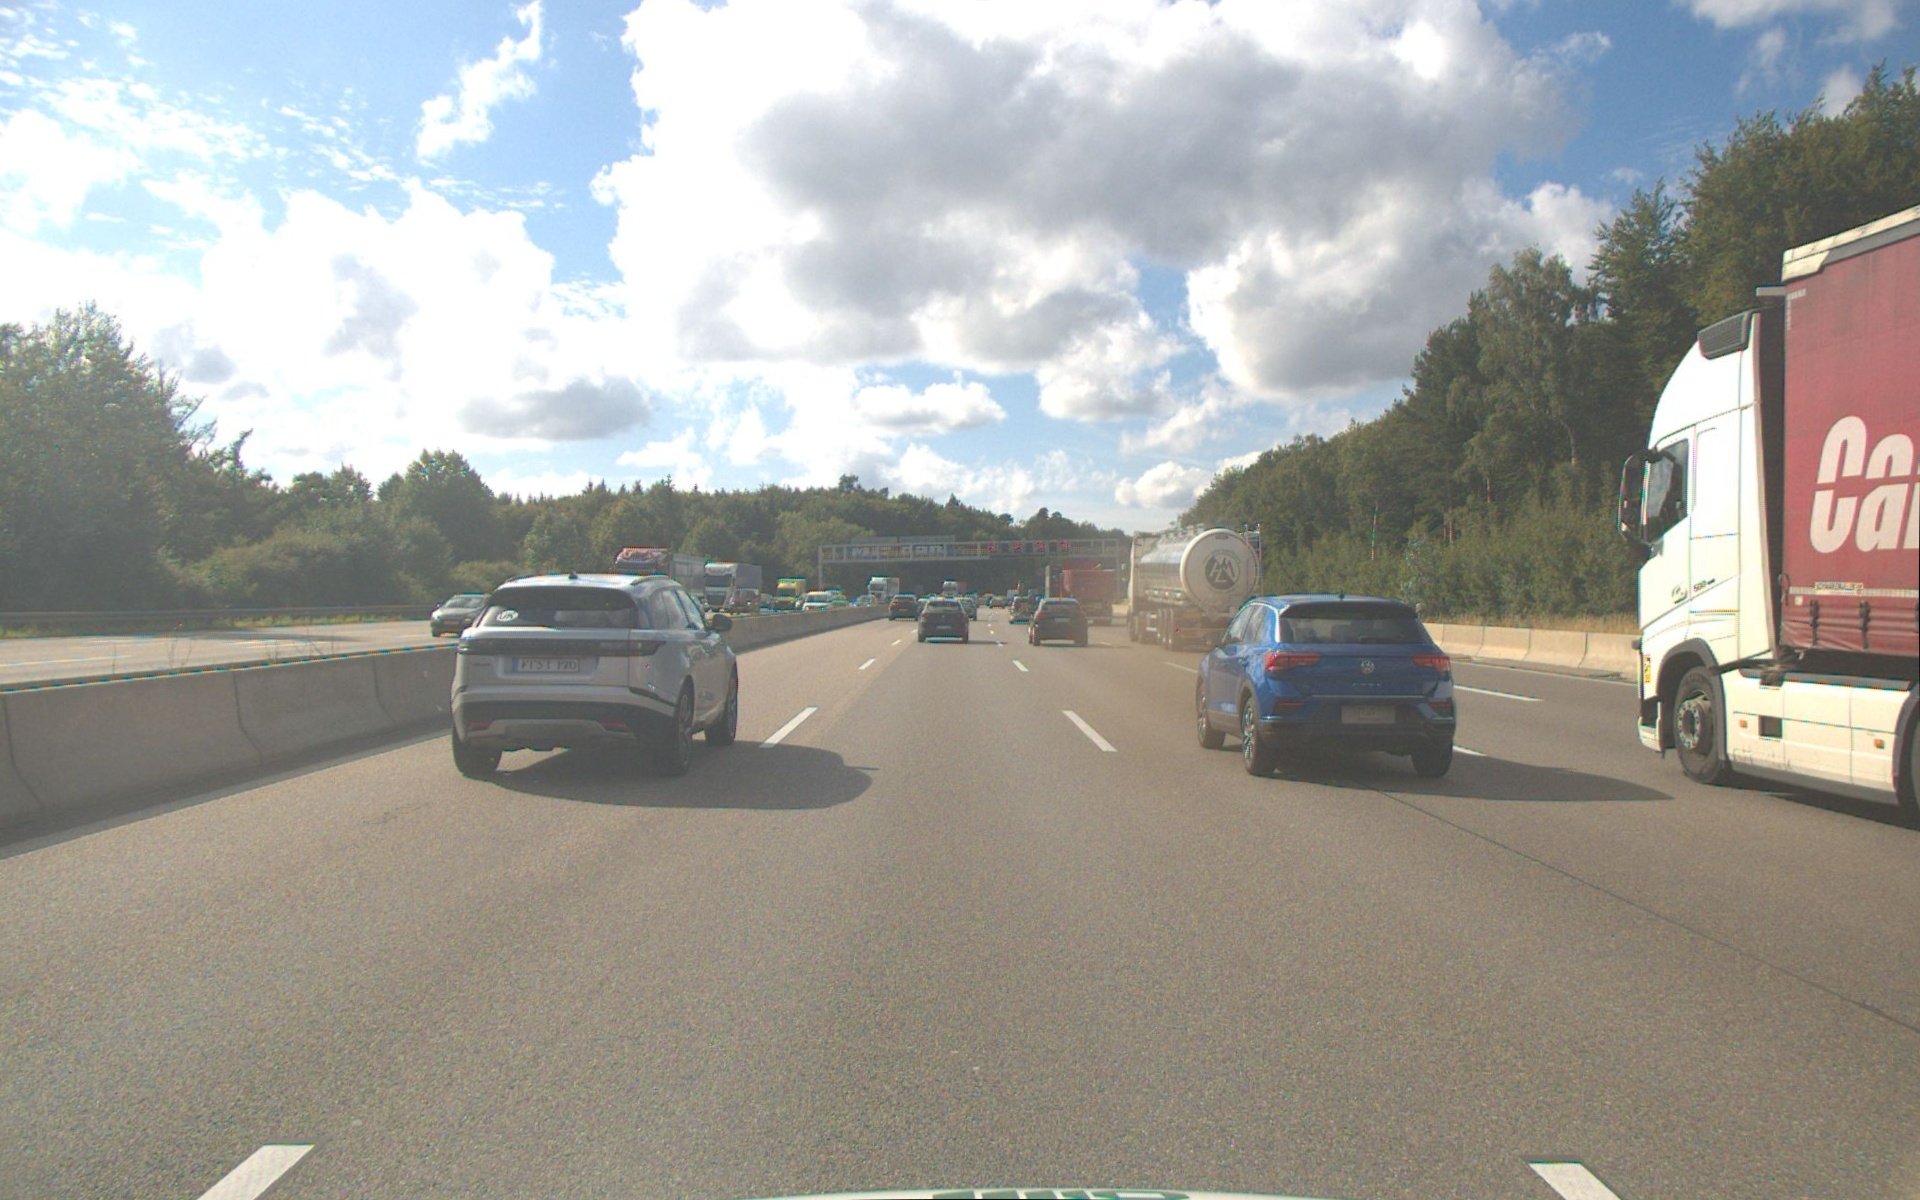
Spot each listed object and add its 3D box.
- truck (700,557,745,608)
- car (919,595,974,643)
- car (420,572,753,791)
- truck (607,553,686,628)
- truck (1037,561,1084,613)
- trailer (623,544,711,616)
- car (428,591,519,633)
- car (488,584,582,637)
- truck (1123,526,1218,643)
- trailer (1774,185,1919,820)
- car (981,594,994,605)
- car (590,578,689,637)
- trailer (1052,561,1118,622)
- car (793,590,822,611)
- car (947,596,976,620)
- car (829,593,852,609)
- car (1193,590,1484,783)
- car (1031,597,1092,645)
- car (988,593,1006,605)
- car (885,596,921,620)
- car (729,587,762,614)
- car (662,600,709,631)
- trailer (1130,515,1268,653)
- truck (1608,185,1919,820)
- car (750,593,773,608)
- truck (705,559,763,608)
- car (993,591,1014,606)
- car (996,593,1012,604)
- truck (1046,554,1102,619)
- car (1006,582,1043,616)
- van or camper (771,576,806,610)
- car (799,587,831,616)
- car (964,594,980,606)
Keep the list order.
[{"bbox_3d":[-20.017,-1.456,139.540,2.761,4.166,6.063,0,0,1],"label":"truck"},{"bbox_3d":[-0.469,0.612,56.387,1.785,1.573,3.999,0,0,-1],"label":"car"},{"bbox_3d":[-3.179,0.612,15.286,1.965,1.644,5.299,1,0,-1],"label":"car"},{"bbox_3d":[-16.962,-0.530,89.963,2.906,3.925,6.765,0,0,1],"label":"truck"},{"bbox_3d":[8.084,-1.040,134.155,3.055,4.003,10.409,0,0,-1],"label":"truck"},{"bbox_3d":[-16.867,-1.104,96.054,2.906,3.925,11.282,0,0,1],"label":"trailer"},{"bbox_3d":[-17.156,0.399,58.501,1.789,1.439,4.675,0,0,0],"label":"car"},{"bbox_3d":[-13.911,0.323,54.411,1.953,1.693,4.686,0,0,-1],"label":"car"},{"bbox_3d":[7.302,-0.523,58.077,2.594,3.890,6.082,0,0,0],"label":"truck"},{"bbox_3d":[7.655,-0.602,5.735,2.717,4.116,13.711,0,0,-1],"label":"trailer"},{"bbox_3d":[4.129,-0.071,249.253,1.889,1.483,4.393,-1,0,2],"label":"car"},{"bbox_3d":[-9.875,0.222,51.434,2.111,1.729,5.349,0,0,-1],"label":"car"},{"bbox_3d":[7.068,-0.520,94.861,2.655,3.287,9.728,1,1,-2],"label":"trailer"},{"bbox_3d":[-12.557,0.042,136.404,1.805,1.624,4.915,-1,0,2],"label":"car"},{"bbox_3d":[0.117,0.507,107.213,1.785,1.483,4.000,1,0,1],"label":"car"},{"bbox_3d":[-11.321,0.068,157.324,1.747,1.496,4.331,0,0,2],"label":"car"},{"bbox_3d":[3.379,0.693,15.614,1.736,1.557,4.457,0,0,0],"label":"car"},{"bbox_3d":[3.254,0.646,53.726,1.785,1.483,4.000,0,0,1],"label":"car"},{"bbox_3d":[4.654,-0.115,210.364,2.035,1.483,3.998,-1,0,-2],"label":"car"},{"bbox_3d":[-3.554,0.487,103.635,1.901,1.483,4.001,-1,0,2],"label":"car"},{"bbox_3d":[-16.144,0.014,124.593,1.809,1.974,5.033,0,0,0],"label":"car"},{"bbox_3d":[-13.312,0.729,80.270,1.570,1.427,4.000,0,0,1],"label":"car"},{"bbox_3d":[7.302,-0.468,52.177,2.594,3.833,11.859,0,0,0],"label":"trailer"},{"bbox_3d":[7.562,-0.639,12.898,2.717,4.116,5.772,0,0,0],"label":"truck"},{"bbox_3d":[-19.413,0.030,162.173,1.661,1.496,4.023,0,0,2],"label":"car"},{"bbox_3d":[-19.831,-1.419,145.974,2.761,4.166,13.848,0,0,2],"label":"truck"},{"bbox_3d":[4.556,-0.190,172.950,1.903,1.483,3.998,-1,0,-2],"label":"car"},{"bbox_3d":[6.142,-0.252,231.662,2.035,1.483,3.998,-1,0,-2],"label":"car"},{"bbox_3d":[6.854,-0.804,99.897,2.656,3.783,5.814,1,1,-3],"label":"truck"},{"bbox_3d":[3.696,-0.057,95.947,1.855,1.889,4.099,1,0,-1],"label":"car"},{"bbox_3d":[-15.538,-0.617,149.977,2.325,2.942,6.507,-1,0,1],"label":"van or camper"},{"bbox_3d":[-9.733,0.090,111.460,1.811,1.911,4.614,-1,0,-1],"label":"car"},{"bbox_3d":[1.566,-0.023,218.916,2.034,1.483,4.000,-1,0,0],"label":"car"}]
